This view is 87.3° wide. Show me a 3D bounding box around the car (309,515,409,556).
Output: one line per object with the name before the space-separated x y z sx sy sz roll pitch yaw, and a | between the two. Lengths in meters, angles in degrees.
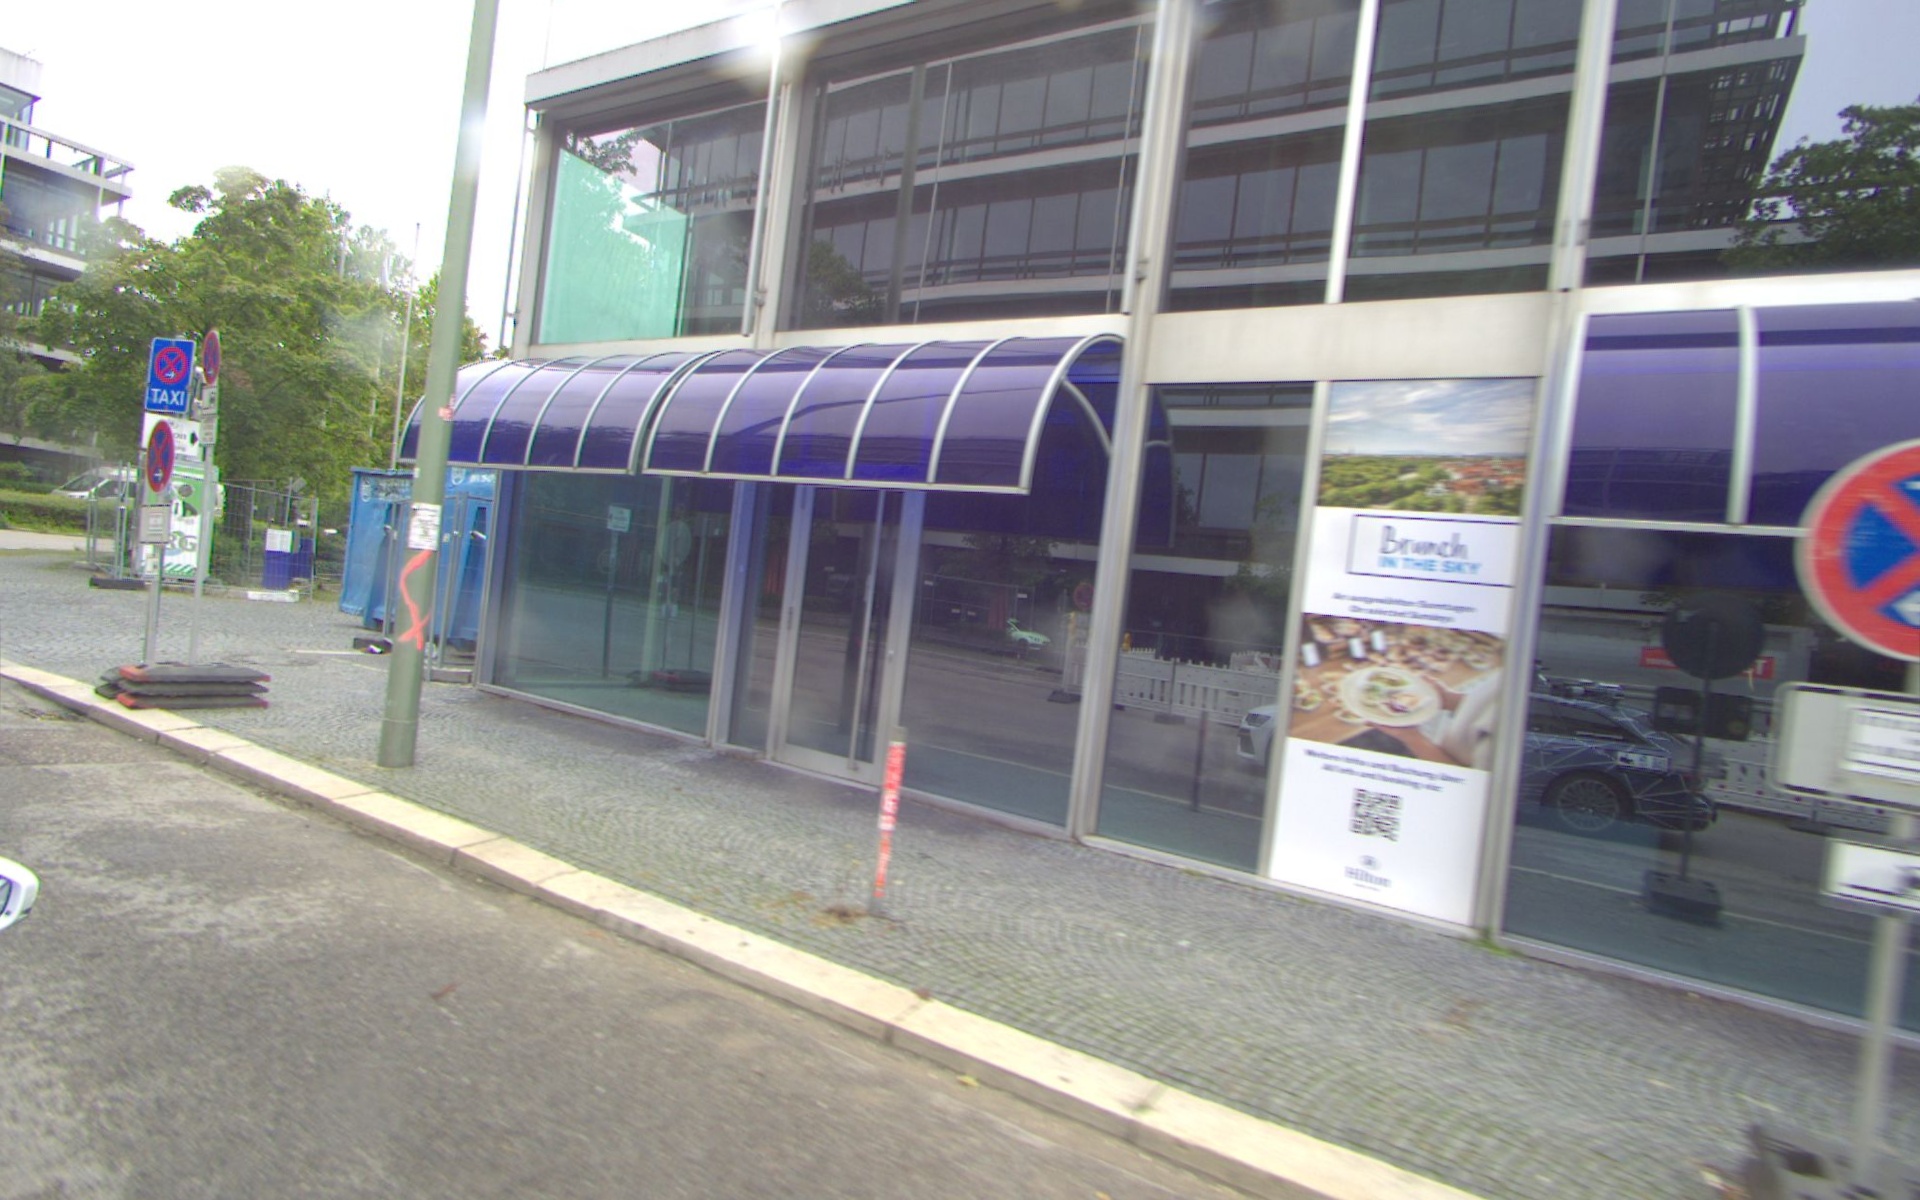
car | -31.468 -3.375 52.758 1.968 1.527 3.990 7 0 33

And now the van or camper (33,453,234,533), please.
van or camper | -35.735 -4.562 43.821 2.213 2.309 6.420 7 0 18

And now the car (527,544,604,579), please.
car | -24.680 -2.383 63.041 1.968 1.593 3.990 7 0 33
